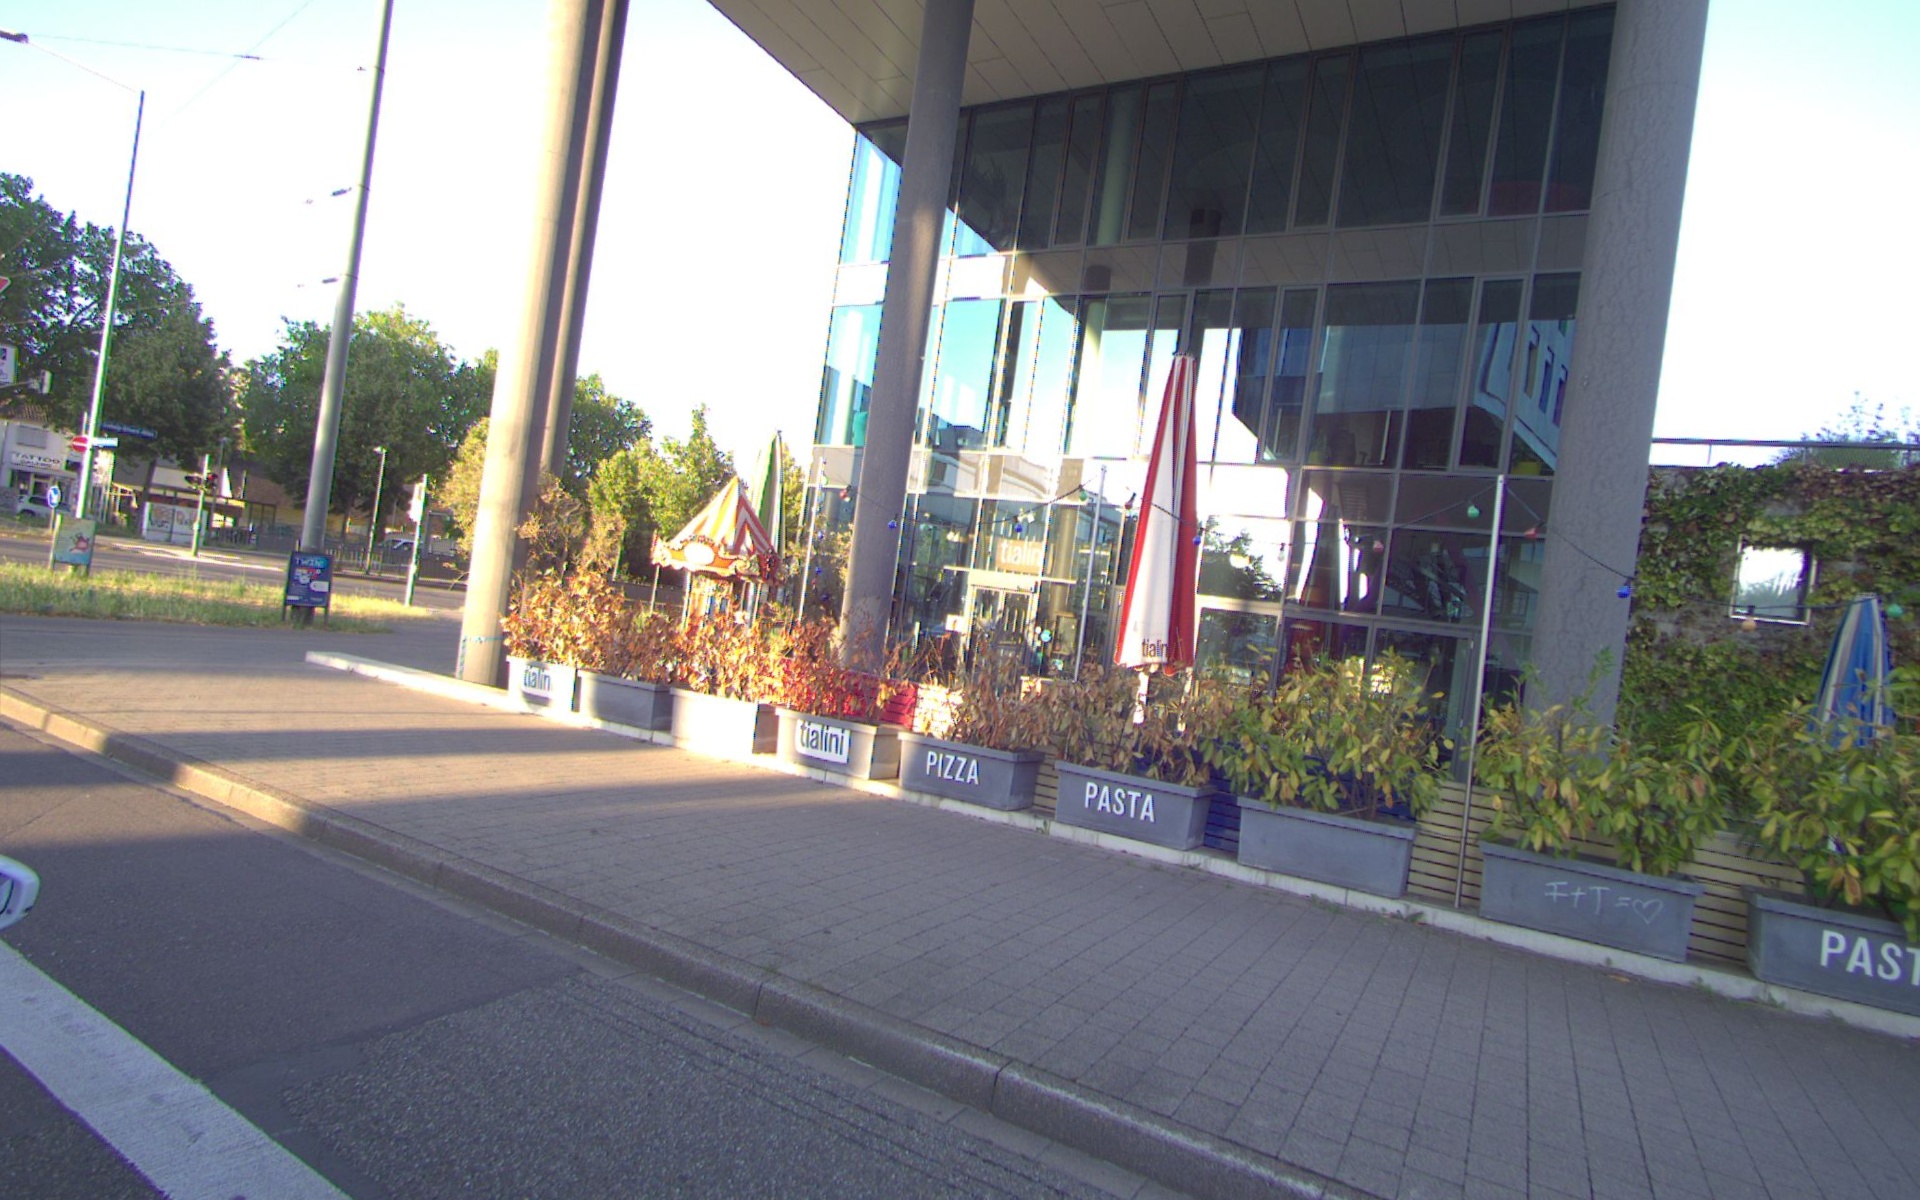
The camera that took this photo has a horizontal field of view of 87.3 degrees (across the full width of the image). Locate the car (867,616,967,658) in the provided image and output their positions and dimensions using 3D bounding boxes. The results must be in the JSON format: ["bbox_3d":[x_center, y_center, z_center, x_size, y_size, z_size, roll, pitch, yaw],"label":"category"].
[{"bbox_3d":[-2.180,1.933,52.310,4.994,1.528,1.964,9,-2,-43],"label":"car"}]

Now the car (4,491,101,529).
[{"bbox_3d":[-50.315,-4.966,55.819,1.641,1.456,3.736,6,-2,41],"label":"car"}]

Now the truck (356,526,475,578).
[{"bbox_3d":[-31.320,-2.710,58.057,2.034,2.078,5.567,7,-2,32],"label":"truck"}]

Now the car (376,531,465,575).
[{"bbox_3d":[-42.614,-3.680,79.546,2.197,2.581,5.594,7,-2,39],"label":"car"}]
